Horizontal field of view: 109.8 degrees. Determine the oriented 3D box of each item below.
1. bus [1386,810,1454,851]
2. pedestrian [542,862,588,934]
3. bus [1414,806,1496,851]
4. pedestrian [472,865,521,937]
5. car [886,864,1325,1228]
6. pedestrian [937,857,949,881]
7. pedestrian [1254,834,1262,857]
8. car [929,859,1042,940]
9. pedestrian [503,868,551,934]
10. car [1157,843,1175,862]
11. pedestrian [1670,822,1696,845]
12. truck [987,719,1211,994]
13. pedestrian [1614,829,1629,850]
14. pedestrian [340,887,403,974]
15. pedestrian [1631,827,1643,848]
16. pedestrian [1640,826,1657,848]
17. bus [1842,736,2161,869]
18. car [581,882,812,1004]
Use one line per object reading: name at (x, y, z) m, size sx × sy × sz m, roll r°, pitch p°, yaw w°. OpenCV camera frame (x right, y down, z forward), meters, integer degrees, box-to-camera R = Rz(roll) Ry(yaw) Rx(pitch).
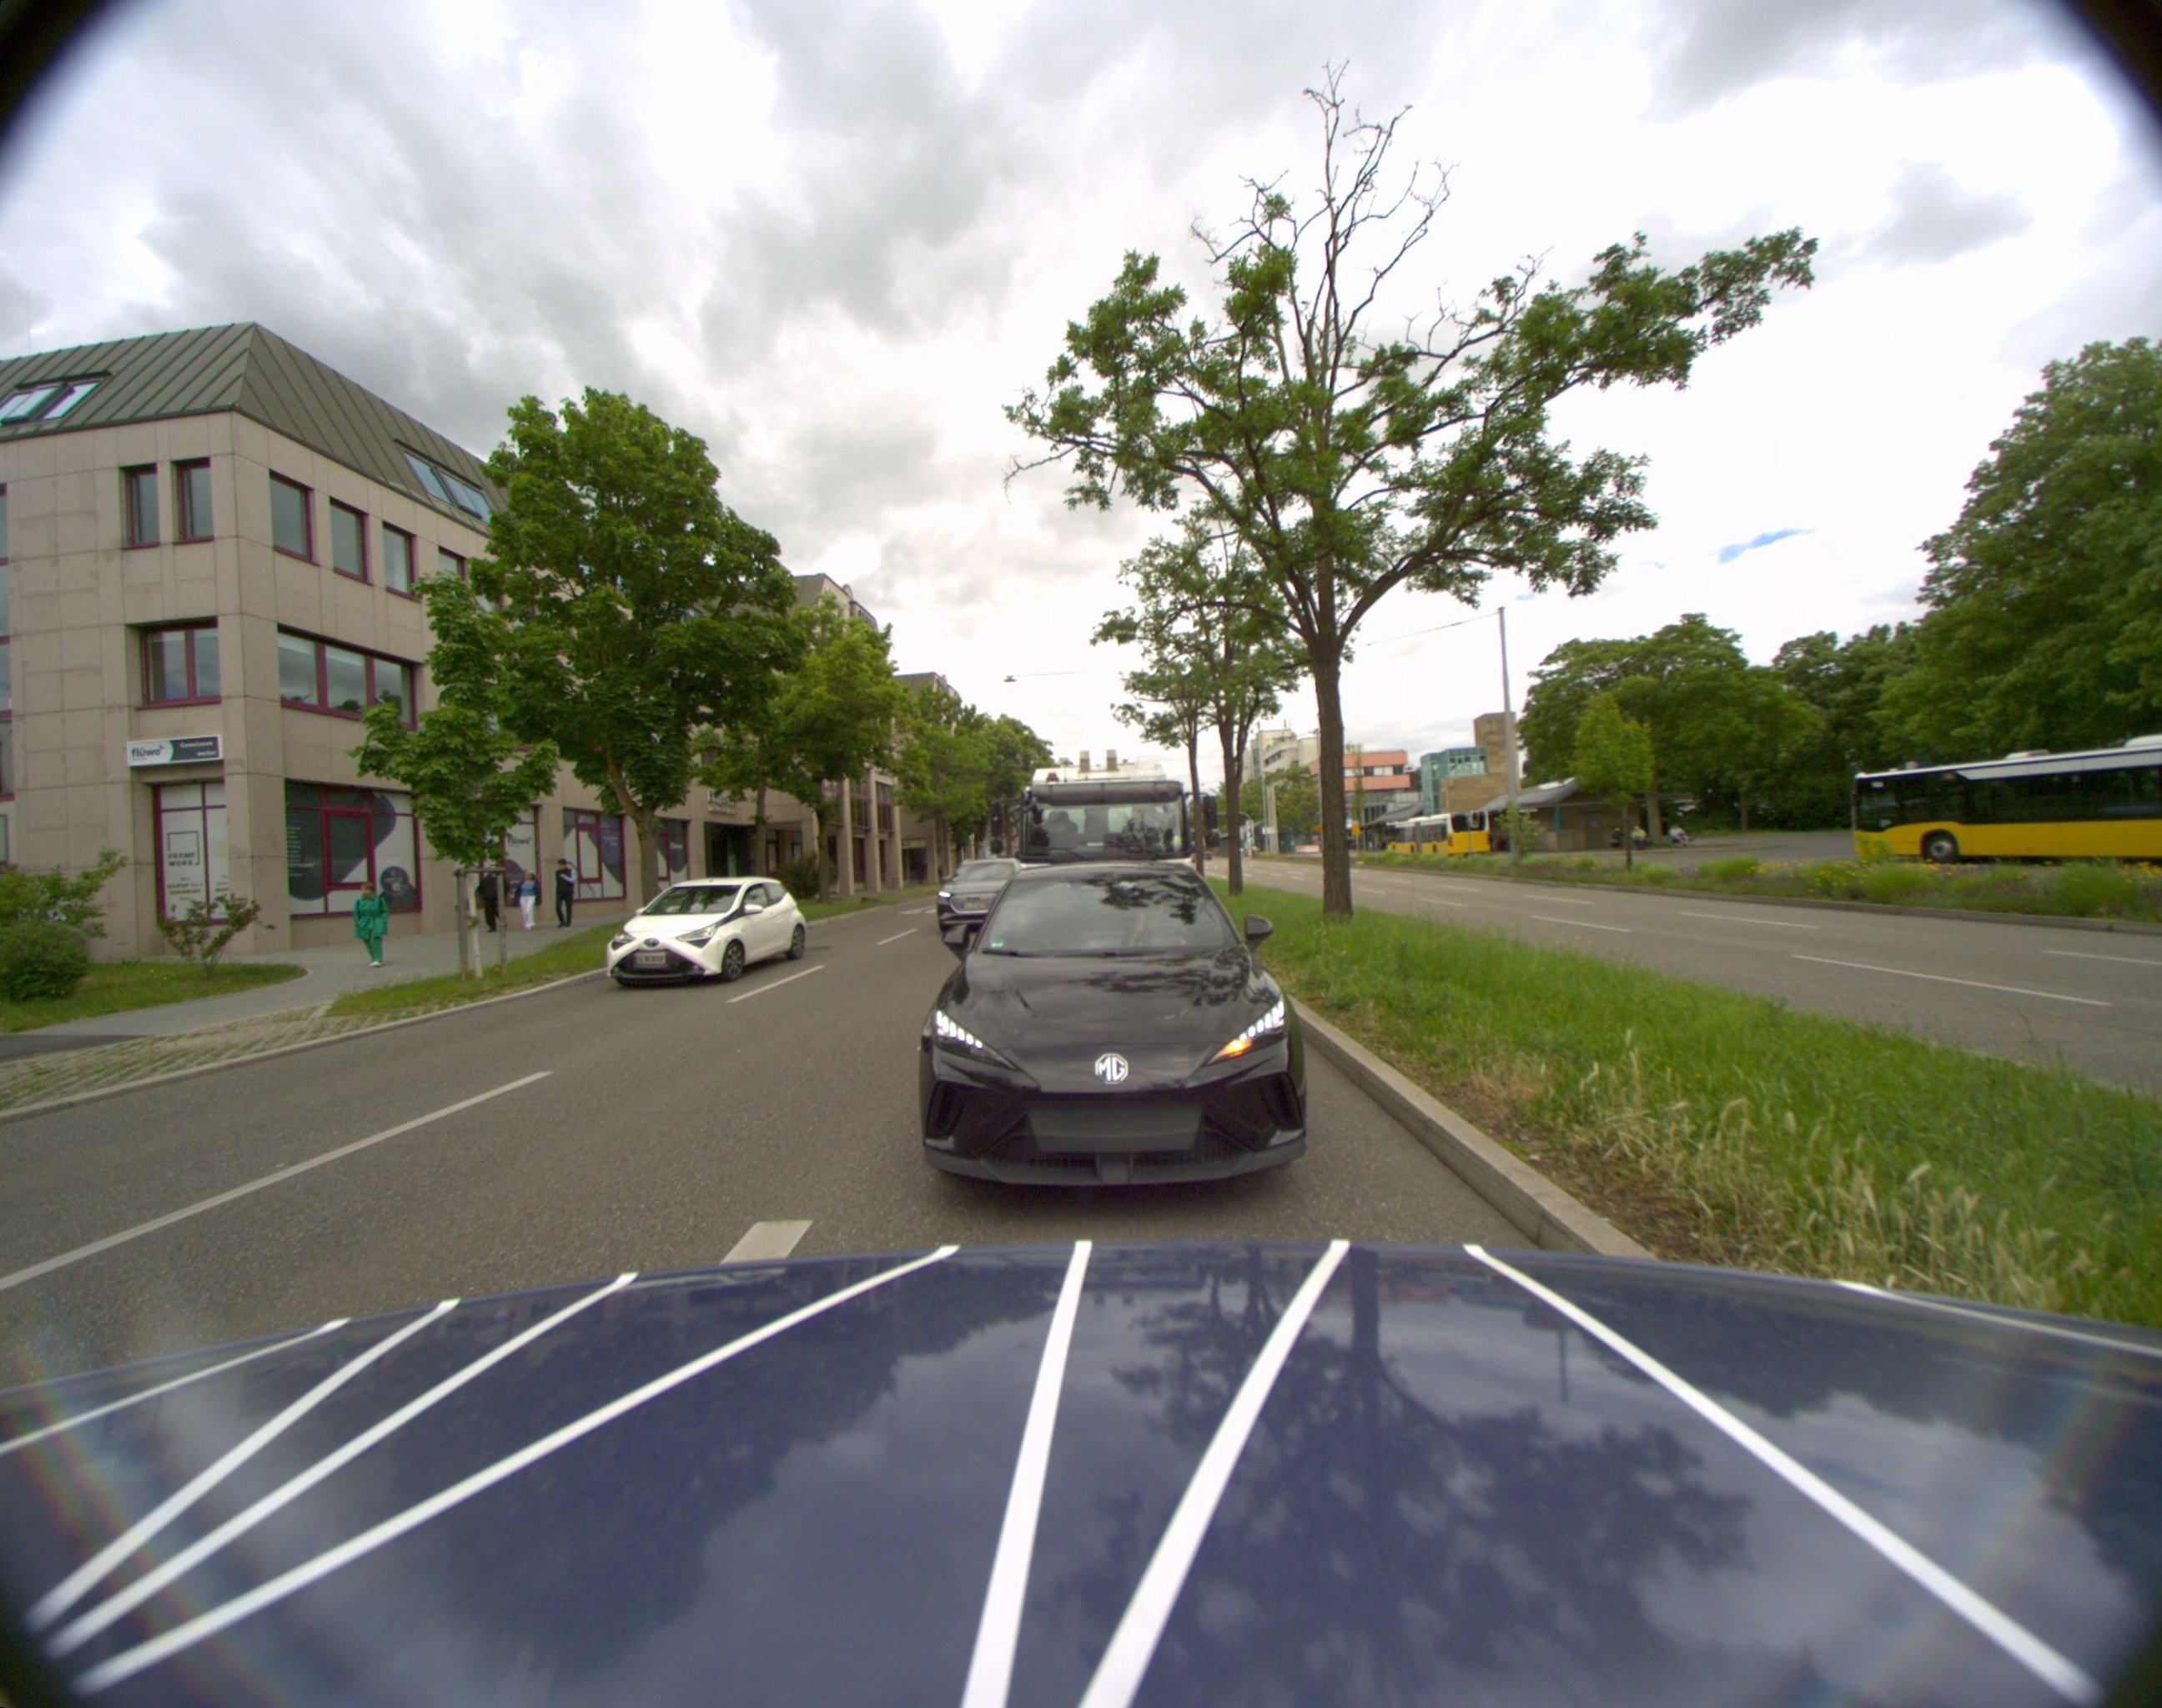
bus at (27.642, -1.812, 62.379) m, size 2.887 × 2.985 × 9.182 m, roll -3°, pitch 0°, yaw 10°
pedestrian at (-13.418, 1.130, 19.784) m, size 0.642 × 1.795 × 0.677 m, roll -3°, pitch 1°, yaw 1°
bus at (26.127, -1.677, 53.572) m, size 2.887 × 2.793 × 9.183 m, roll -3°, pitch 0°, yaw 11°
pedestrian at (-15.033, 1.194, 19.561) m, size 0.642 × 1.795 × 0.677 m, roll -3°, pitch 1°, yaw 1°
car at (0.133, 0.862, 5.281) m, size 1.827 × 1.430 × 4.000 m, roll -3°, pitch 0°, yaw 1°
pedestrian at (-10.804, 1.180, 59.536) m, size 0.719 × 1.811 × 0.949 m, roll -2°, pitch 1°, yaw 1°
pedestrian at (21.574, -1.034, 92.722) m, size 0.903 × 2.772 × 1.148 m, roll -2°, pitch 1°, yaw 13°
car at (-2.139, 0.971, 18.231) m, size 1.896 × 1.586 × 4.314 m, roll -3°, pitch 0°, yaw 3°
pedestrian at (-14.331, 1.194, 19.675) m, size 0.642 × 1.637 × 0.677 m, roll -3°, pitch 1°, yaw 1°
car at (9.463, -0.162, 84.908) m, size 1.726 × 2.002 × 4.001 m, roll -3°, pitch 0°, yaw 3°
pedestrian at (31.970, -1.085, 40.354) m, size 0.650 × 1.165 × 0.925 m, roll -2°, pitch 1°, yaw 1°
truck at (0.332, 0.023, 12.796) m, size 2.544 × 3.187 × 7.369 m, roll -3°, pitch 0°, yaw 2°
pedestrian at (30.732, -0.849, 43.193) m, size 0.598 × 1.155 × 0.744 m, roll -2°, pitch 1°, yaw 29°
pedestrian at (-12.961, 1.377, 13.894) m, size 0.496 × 1.510 × 0.677 m, roll 0°, pitch 1°, yaw 1°
pedestrian at (30.227, -0.894, 41.296) m, size 0.367 × 1.160 × 0.899 m, roll -2°, pitch 1°, yaw 26°
pedestrian at (30.664, -0.908, 41.042) m, size 0.598 × 1.155 × 0.744 m, roll -2°, pitch 1°, yaw 26°
bus at (25.941, -1.240, 19.615) m, size 2.888 × 2.985 × 10.397 m, roll -3°, pitch 0°, yaw 6°
car at (-5.628, 1.222, 11.643) m, size 1.657 × 1.417 × 3.535 m, roll -2°, pitch 0°, yaw 1°
